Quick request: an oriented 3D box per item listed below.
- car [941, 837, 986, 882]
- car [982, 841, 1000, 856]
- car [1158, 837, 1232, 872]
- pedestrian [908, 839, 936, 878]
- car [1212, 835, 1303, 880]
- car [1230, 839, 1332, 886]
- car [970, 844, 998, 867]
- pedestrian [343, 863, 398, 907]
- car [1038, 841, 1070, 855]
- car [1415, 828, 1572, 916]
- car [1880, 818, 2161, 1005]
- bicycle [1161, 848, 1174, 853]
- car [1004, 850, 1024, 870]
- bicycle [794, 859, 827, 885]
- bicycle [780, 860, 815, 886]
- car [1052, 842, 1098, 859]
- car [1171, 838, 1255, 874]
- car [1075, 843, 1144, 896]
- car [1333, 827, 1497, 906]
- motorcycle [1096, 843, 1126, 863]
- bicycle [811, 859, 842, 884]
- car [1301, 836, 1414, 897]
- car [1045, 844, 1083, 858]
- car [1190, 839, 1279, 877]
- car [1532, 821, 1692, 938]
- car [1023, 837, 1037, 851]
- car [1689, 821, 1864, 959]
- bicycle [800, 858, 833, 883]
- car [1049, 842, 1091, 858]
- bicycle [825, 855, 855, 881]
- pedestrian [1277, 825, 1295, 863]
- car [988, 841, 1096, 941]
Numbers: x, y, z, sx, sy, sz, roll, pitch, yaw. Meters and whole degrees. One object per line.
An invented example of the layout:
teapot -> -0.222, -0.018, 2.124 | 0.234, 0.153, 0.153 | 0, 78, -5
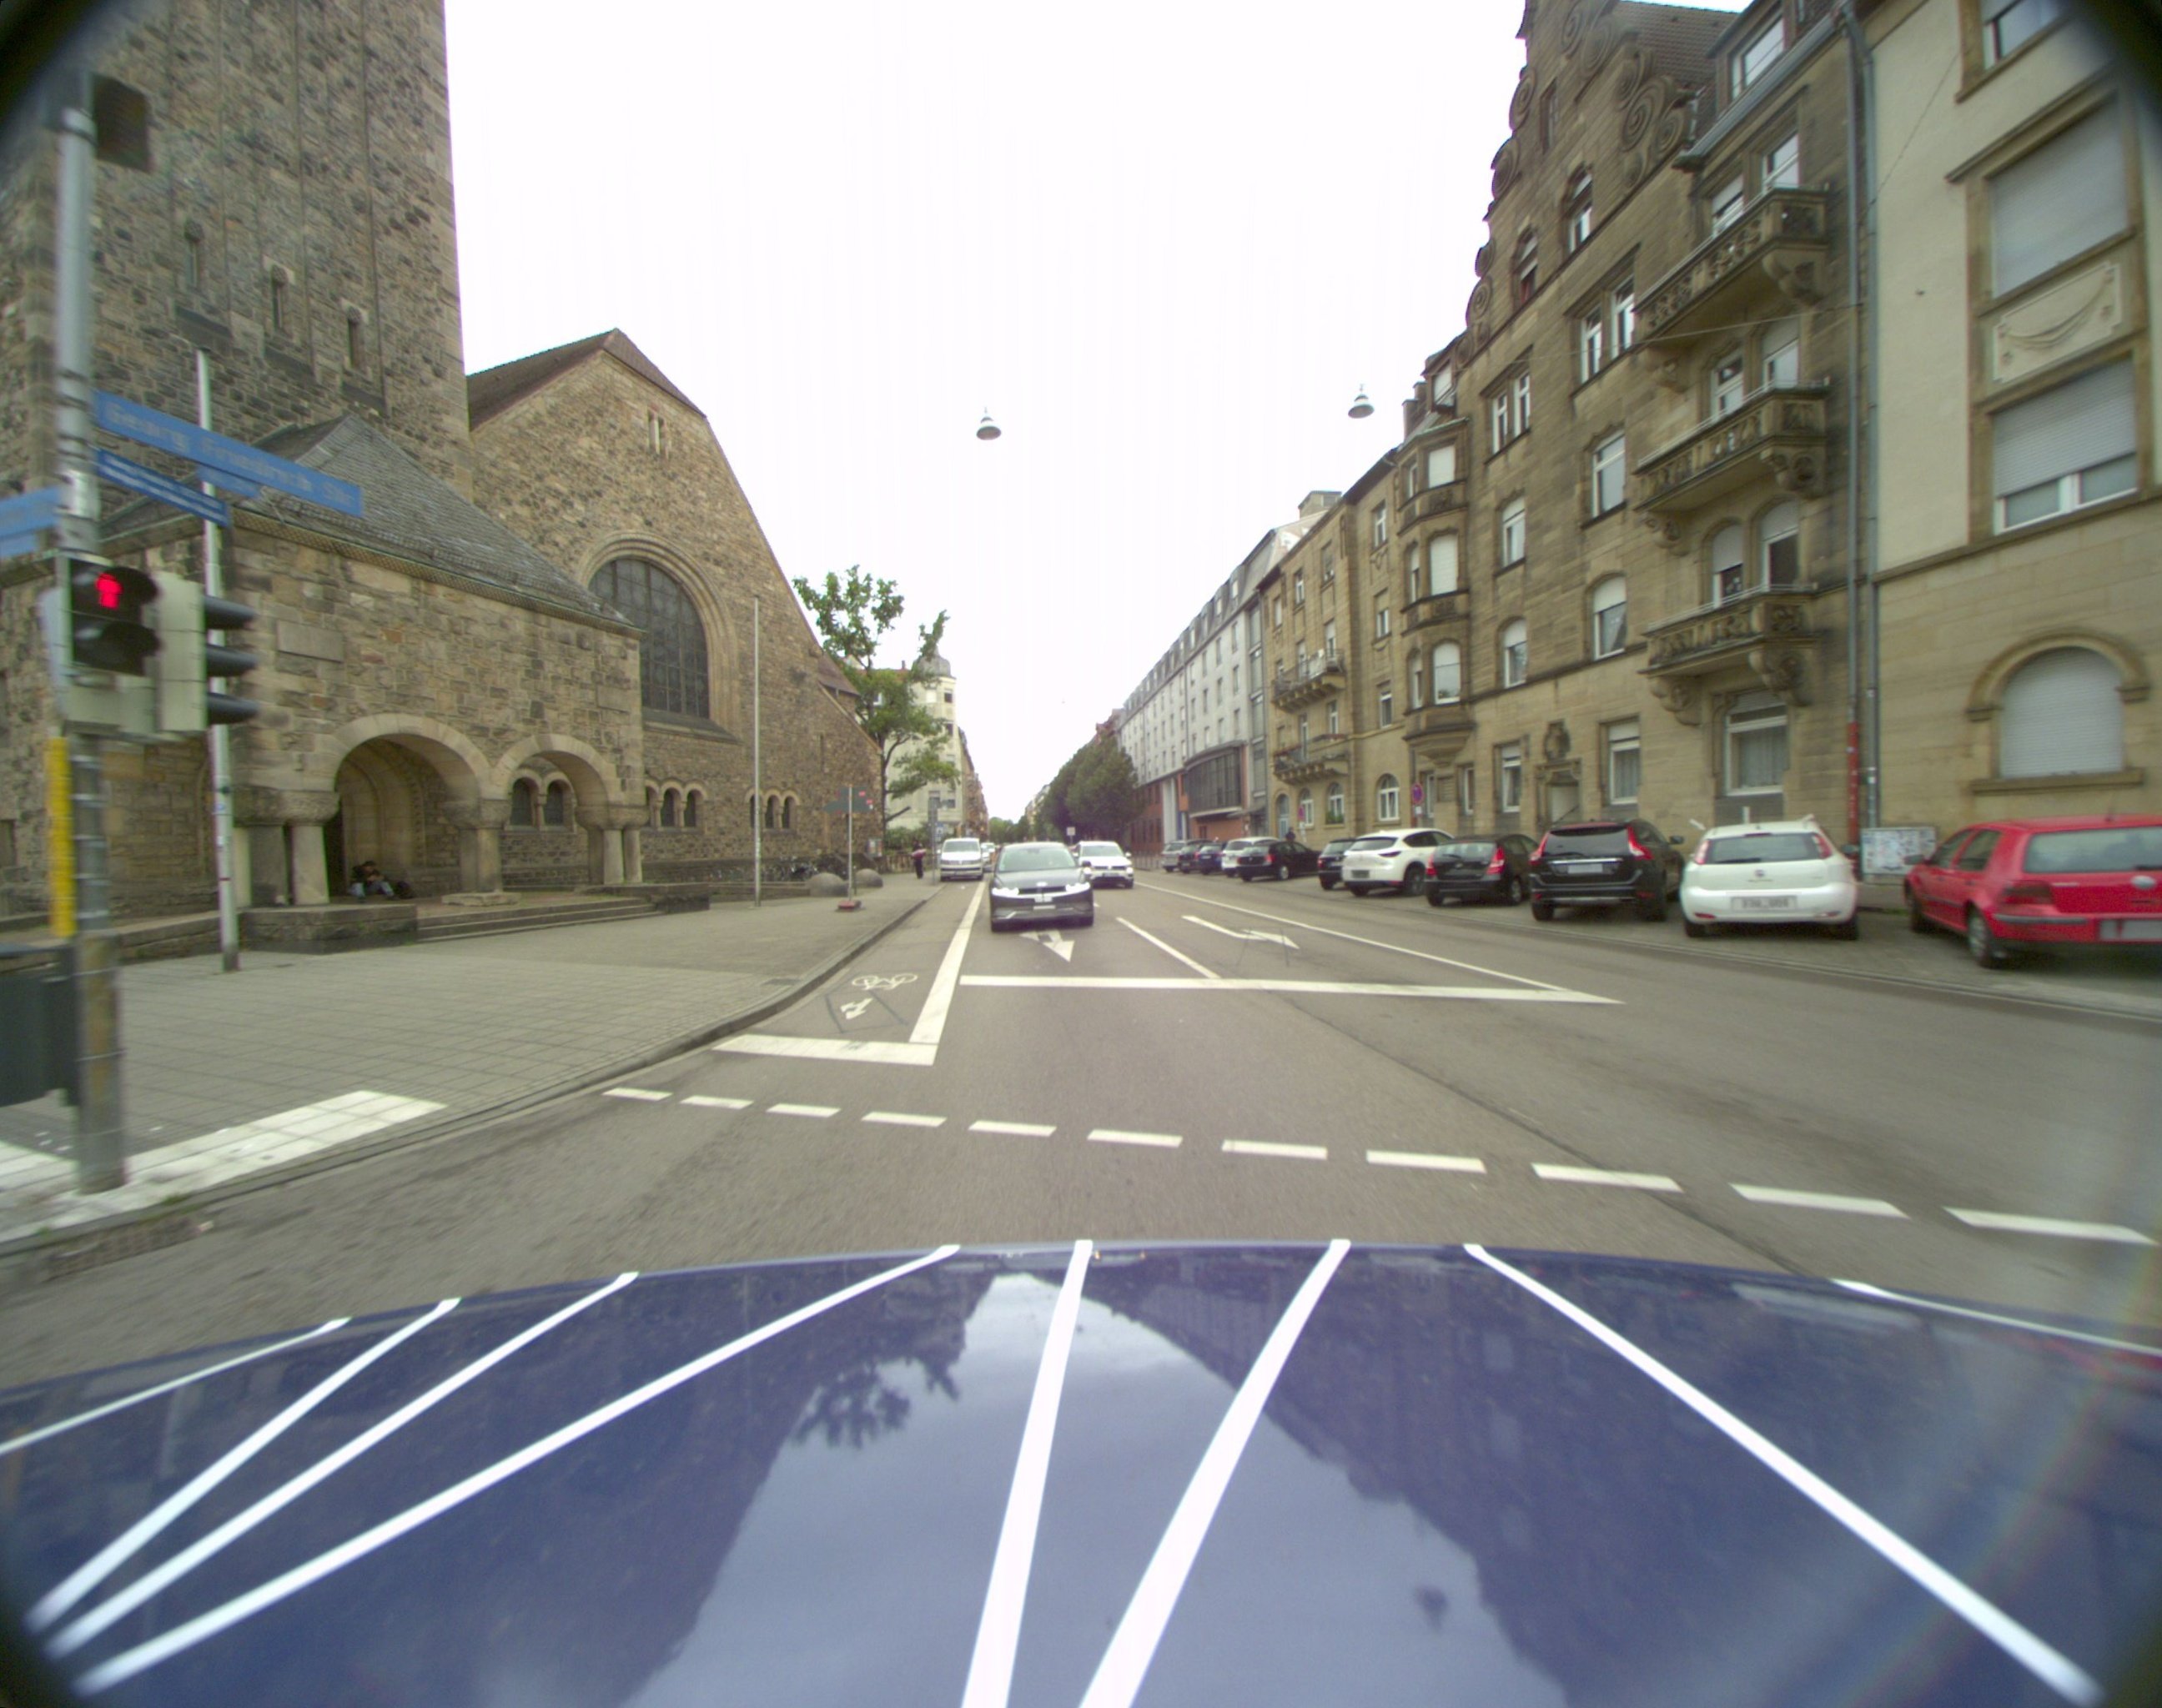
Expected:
car -> -5.450, 0.216, 35.755 | 1.810, 1.909, 5.160 | -2, 1, -6
car -> -10.385, -0.659, 87.974 | 1.821, 1.556, 3.997 | -2, 1, -5
car -> 6.055, -0.002, 40.197 | 4.006, 1.545, 1.728 | -5, 2, -44
pedestrian -> -7.641, 0.226, 36.554 | 0.814, 1.799, 1.020 | -1, 4, 16
car -> 7.466, 0.123, 31.883 | 4.006, 1.545, 1.699 | -5, 2, -43
car -> 7.524, 0.284, 28.361 | 4.006, 1.410, 1.657 | -5, 3, -41
car -> -7.045, 0.055, 55.565 | 1.821, 1.556, 3.997 | -2, 1, -5
pedestrian -> -16.053, 0.687, 17.164 | 0.672, 0.946, 0.616 | -1, 1, 17
car -> -3.842, -0.885, 107.393 | 4.005, 1.898, 1.995 | -2, 1, -28
car -> 9.121, 0.332, 16.649 | 4.006, 1.486, 1.727 | -6, 2, -42
car -> 10.155, 0.438, 8.016 | 1.679, 1.464, 4.007 | -3, 1, 37
bicycle -> 7.650, -0.298, 67.146 | 1.010, 0.435, 0.527 | -2, 3, -4
car -> -6.539, 0.518, 73.932 | 1.833, 1.762, 3.996 | -2, 2, -6
bicycle -> -11.438, 0.771, 32.125 | 1.381, 1.054, 0.311 | -1, 1, 17
bicycle -> -11.785, 0.788, 31.580 | 1.381, 1.054, 0.311 | -1, 1, 17
car -> -0.610, -0.343, 75.337 | 4.005, 1.620, 1.995 | -2, 1, -28
car -> 6.485, 0.099, 37.179 | 4.006, 1.430, 1.729 | -5, 2, -37
car -> 0.889, 0.462, 26.421 | 1.911, 1.597, 4.248 | -2, 1, -4
car -> 8.712, 0.269, 19.785 | 4.005, 1.714, 1.836 | -4, 2, -30
motorcycle -> 2.225, -0.104, 56.943 | 2.125, 1.346, 0.598 | -3, 2, -5
bicycle -> -11.233, 0.760, 33.502 | 1.341, 1.054, 0.311 | -1, 1, 17
car -> 8.323, 0.322, 22.710 | 3.819, 1.489, 1.565 | -5, 3, -43
car -> -1.906, -0.350, 87.846 | 4.005, 1.488, 1.734 | -2, 1, -28
car -> 6.984, 0.174, 34.499 | 3.754, 1.437, 1.819 | -5, 2, -35
car -> 9.401, 0.325, 13.300 | 1.727, 1.642, 4.233 | -1, 2, 43
car -> -7.002, -1.338, 104.276 | 1.699, 1.793, 4.126 | -1, 1, -7
car -> 9.851, 0.382, 10.818 | 1.560, 1.464, 4.006 | -2, 2, 43
bicycle -> -11.440, 0.733, 32.880 | 1.381, 1.054, 0.311 | -1, 1, 17
car -> -1.173, -0.416, 81.252 | 4.005, 1.620, 1.995 | -2, 1, -28
bicycle -> -10.881, 0.634, 34.322 | 1.341, 1.140, 0.311 | -1, 2, 17
pedestrian -> 9.869, -0.488, 36.547 | 0.622, 1.813, 0.641 | -2, 1, -5
car -> -0.837, 0.608, 15.149 | 1.821, 1.675, 3.997 | -2, 1, -5
